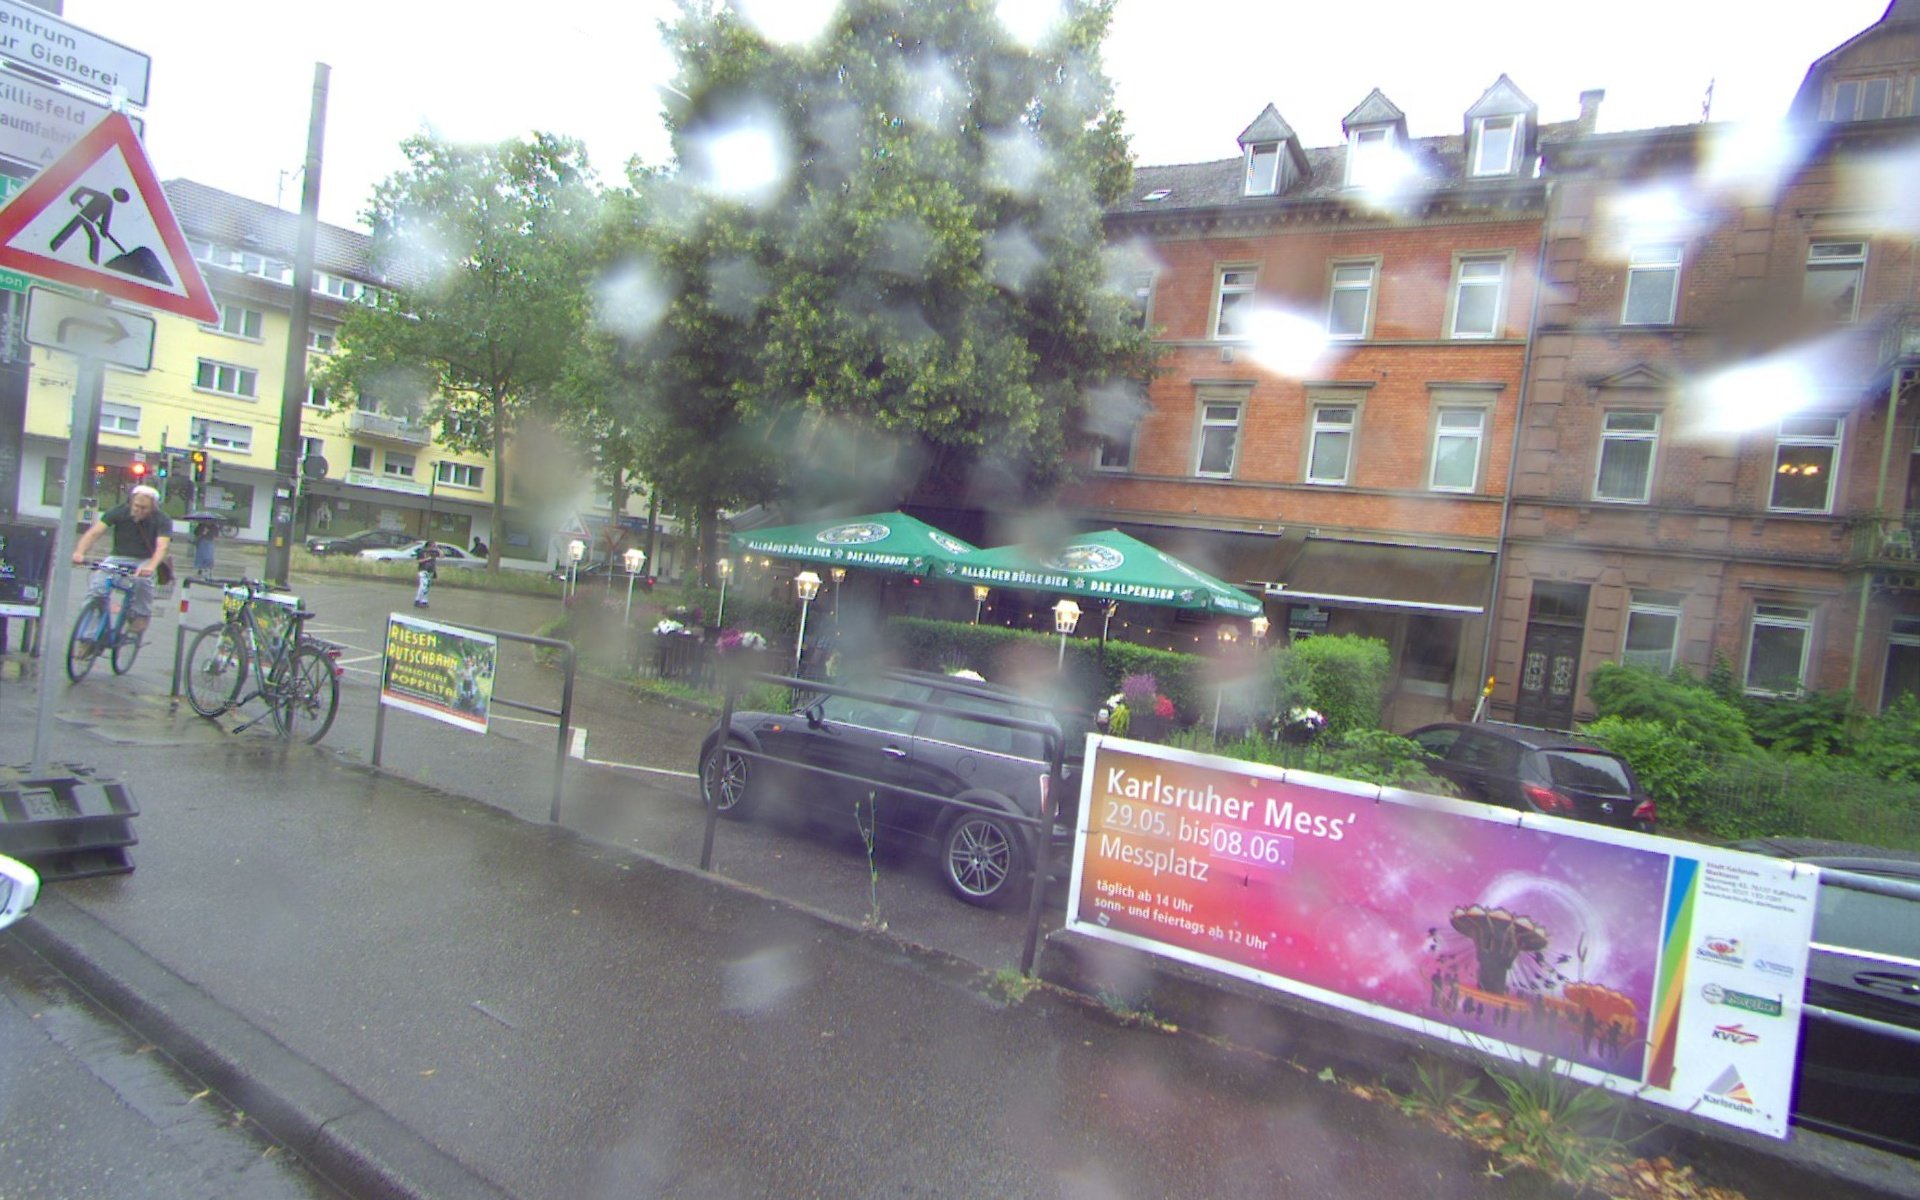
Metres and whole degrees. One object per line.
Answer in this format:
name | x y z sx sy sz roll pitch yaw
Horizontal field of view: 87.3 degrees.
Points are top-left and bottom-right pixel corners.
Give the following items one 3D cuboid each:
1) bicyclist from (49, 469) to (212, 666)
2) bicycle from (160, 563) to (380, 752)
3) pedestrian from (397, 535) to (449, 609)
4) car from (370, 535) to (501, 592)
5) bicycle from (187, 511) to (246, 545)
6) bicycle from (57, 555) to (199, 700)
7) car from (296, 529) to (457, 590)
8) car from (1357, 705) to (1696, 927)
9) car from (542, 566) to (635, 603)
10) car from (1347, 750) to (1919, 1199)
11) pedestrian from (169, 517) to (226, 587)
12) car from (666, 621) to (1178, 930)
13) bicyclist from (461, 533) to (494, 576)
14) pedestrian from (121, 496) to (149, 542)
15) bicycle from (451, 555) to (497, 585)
bicyclist | -7.410 -0.283 8.992 0.848 1.602 0.877 7 -1 42
bicycle | -5.181 0.396 7.504 1.984 1.119 0.515 7 -3 33
pedestrian | -13.215 -0.688 24.741 0.898 1.689 1.011 7 -1 -32
car | -19.532 -1.339 37.535 3.926 1.508 1.784 8 0 -43
bicycle | -35.605 -3.445 48.203 2.096 1.277 0.525 8 0 -44
bicycle | -7.434 0.219 8.958 1.872 1.040 0.459 8 1 37
car | -22.448 -1.530 38.829 1.975 1.661 4.928 3 -4 43
car | 6.562 2.411 12.279 1.962 1.733 4.004 7 -1 5
car | -15.549 -0.632 42.280 1.227 1.095 3.531 7 -2 34
car | 4.192 1.816 4.966 3.907 1.416 1.706 7 -1 32
pedestrian | -18.403 -1.147 24.297 0.612 1.552 0.816 7 0 -6
car | -0.356 1.208 7.807 3.468 1.457 1.710 8 -3 34
bicyclist | -20.004 -1.872 41.696 0.699 1.634 0.815 7 0 33
pedestrian | -29.472 -2.887 35.942 0.619 1.518 0.546 7 0 -43
bicycle | -20.098 -1.242 41.651 0.415 1.013 1.640 7 -1 32
